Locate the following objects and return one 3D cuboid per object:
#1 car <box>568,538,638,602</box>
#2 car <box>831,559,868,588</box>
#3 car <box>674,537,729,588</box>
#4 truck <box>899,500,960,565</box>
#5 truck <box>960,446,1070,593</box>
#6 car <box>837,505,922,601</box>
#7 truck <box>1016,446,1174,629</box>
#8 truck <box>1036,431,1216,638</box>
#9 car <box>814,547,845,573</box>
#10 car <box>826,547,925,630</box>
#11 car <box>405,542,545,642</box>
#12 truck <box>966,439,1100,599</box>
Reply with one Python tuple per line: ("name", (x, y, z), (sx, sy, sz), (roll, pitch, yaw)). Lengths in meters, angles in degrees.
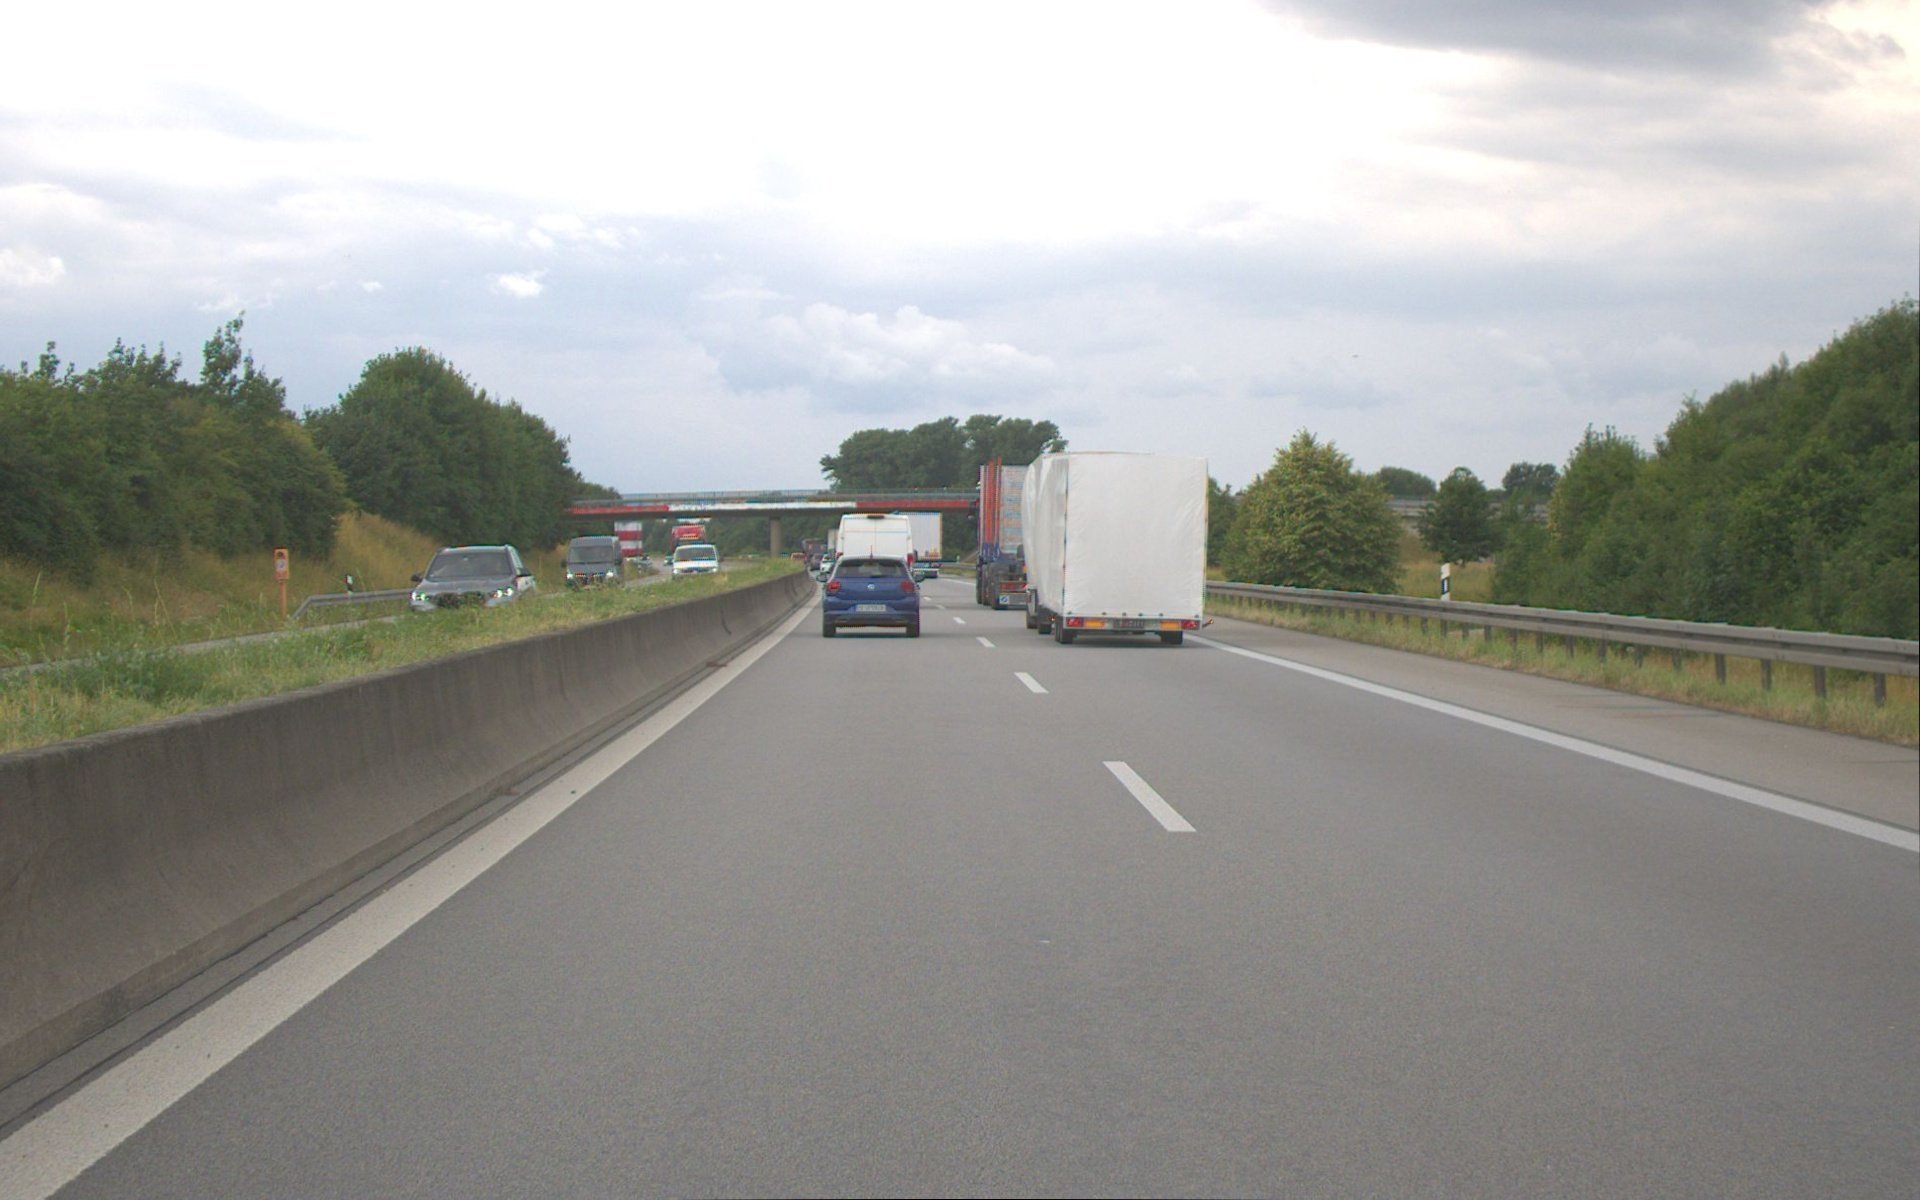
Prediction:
("car", (-14.355, -1.226, 138.557), (2.169, 2.456, 6.724), (-2, 1, -1))
("car", (-6.168, -1.497, 192.418), (1.935, 1.638, 4.903), (0, 1, 0))
("car", (-10.351, -1.516, 137.957), (1.979, 2.007, 5.131), (0, 1, -2))
("truck", (-1.870, -3.990, 205.597), (3.110, 3.677, 9.324), (-2, 1, -3))
("truck", (1.533, -2.291, 98.025), (2.673, 4.032, 5.513), (-1, 1, -3))
("car", (-2.201, -1.253, 92.363), (2.130, 2.474, 5.840), (0, 1, -3))
("truck", (2.435, -1.149, 64.268), (2.429, 3.232, 7.248), (0, 1, -2))
("truck", (2.658, -1.058, 57.078), (2.415, 3.211, 7.144), (0, 1, -2))
("car", (-8.567, -2.611, 226.055), (1.993, 1.678, 4.001), (0, 1, -3))
("car", (-1.474, -0.229, 60.949), (1.663, 1.402, 3.648), (0, 1, 0))
("car", (-8.779, -0.174, 62.525), (1.919, 1.688, 4.597), (-2, 1, -1))
("truck", (1.870, -2.175, 92.705), (2.673, 4.032, 11.109), (-1, 1, -3))
